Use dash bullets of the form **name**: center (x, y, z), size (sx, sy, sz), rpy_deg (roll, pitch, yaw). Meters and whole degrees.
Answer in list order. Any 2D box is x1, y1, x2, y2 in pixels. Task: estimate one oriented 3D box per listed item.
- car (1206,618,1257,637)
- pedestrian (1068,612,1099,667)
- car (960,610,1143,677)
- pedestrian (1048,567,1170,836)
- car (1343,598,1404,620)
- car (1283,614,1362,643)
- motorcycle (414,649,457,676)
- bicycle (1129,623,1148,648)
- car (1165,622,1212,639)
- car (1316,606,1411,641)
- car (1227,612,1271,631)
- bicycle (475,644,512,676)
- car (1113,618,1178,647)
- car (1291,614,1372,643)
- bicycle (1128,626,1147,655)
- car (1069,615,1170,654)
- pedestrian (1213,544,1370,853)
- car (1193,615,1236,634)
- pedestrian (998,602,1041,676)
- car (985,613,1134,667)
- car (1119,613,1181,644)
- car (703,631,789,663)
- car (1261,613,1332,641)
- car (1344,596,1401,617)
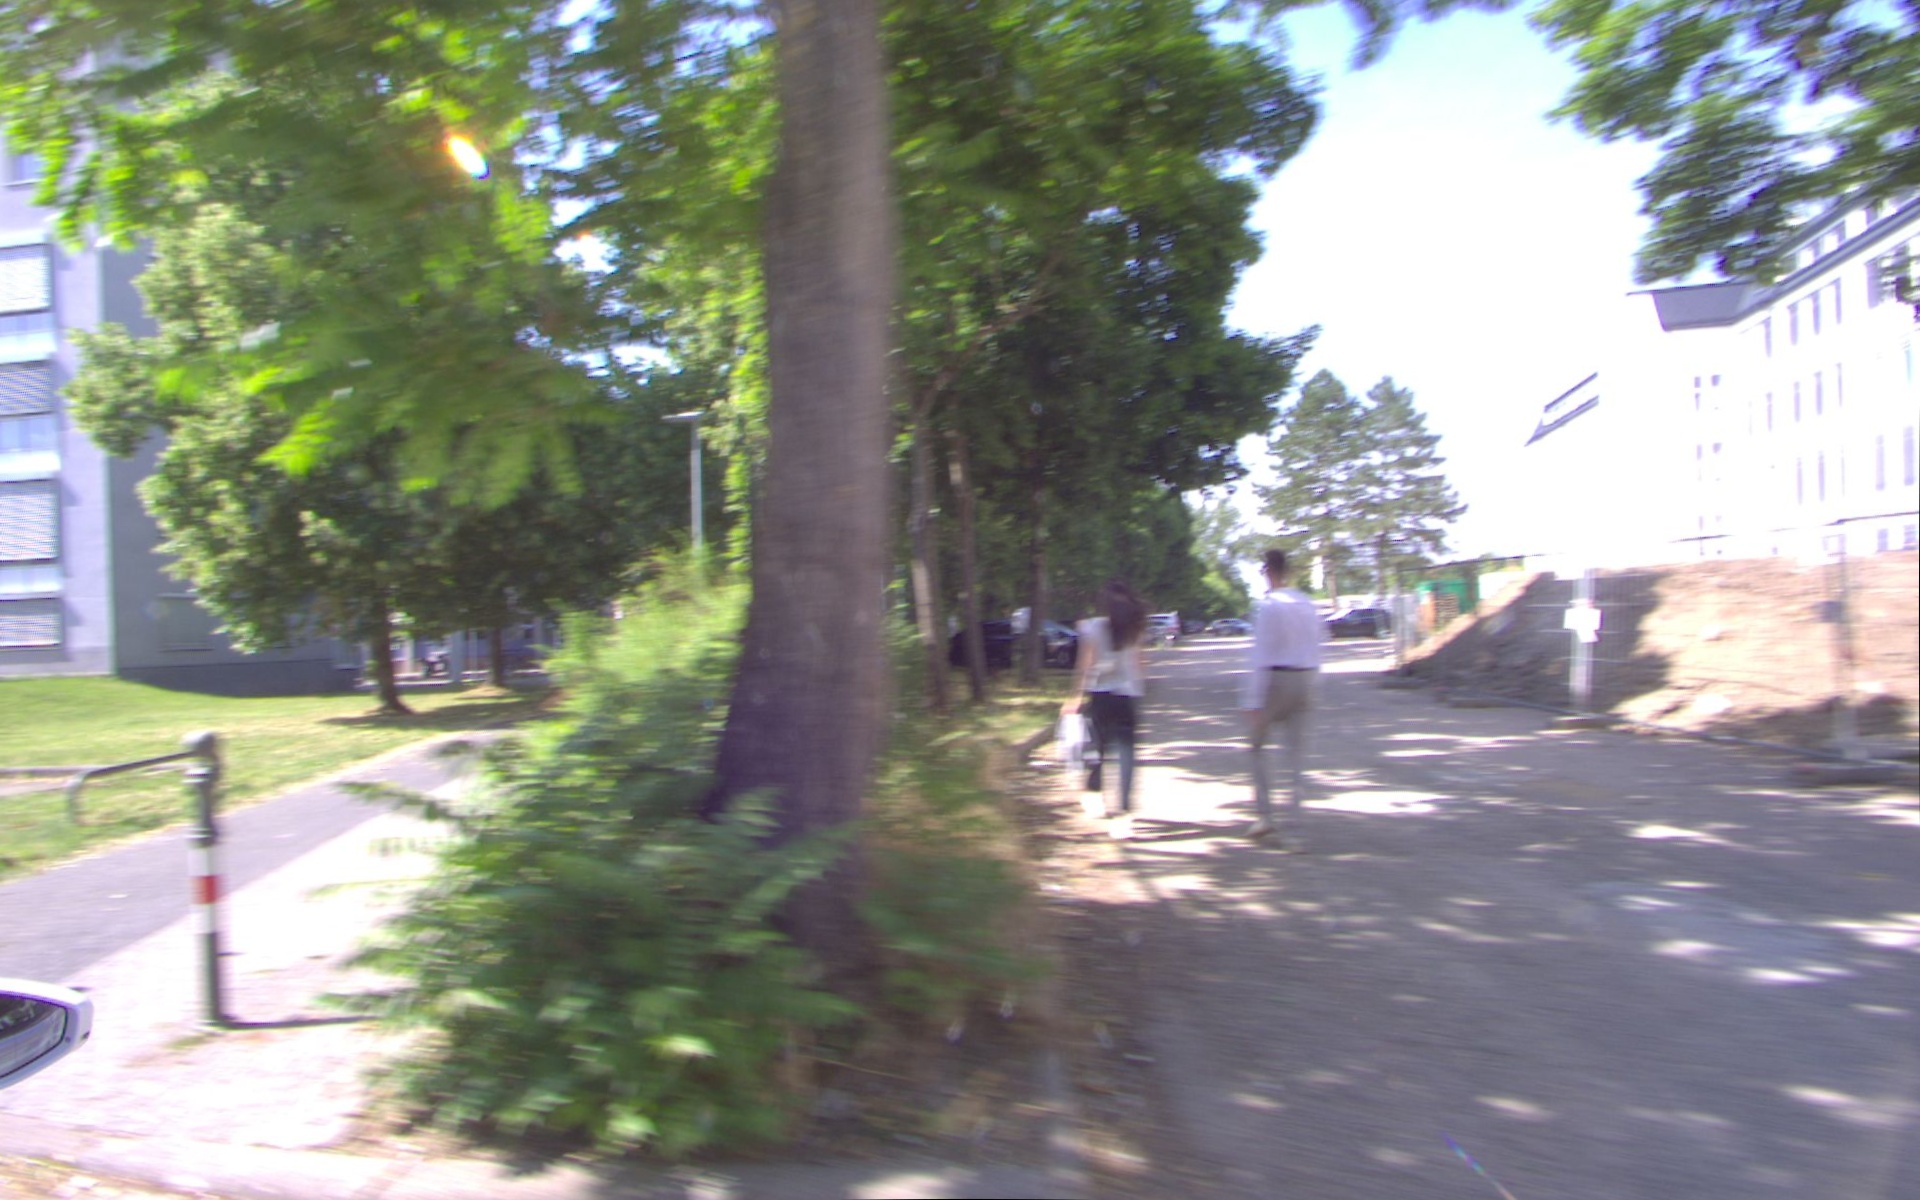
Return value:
- **car**: center (22.667, 2.277, 83.796), size (1.533, 1.525, 3.970), rpy_deg (-1, -1, -38)
- **pedestrian**: center (3.764, 1.201, 30.670), size (0.910, 1.616, 0.785), rpy_deg (-1, 1, 6)
- **car**: center (2.403, 1.121, 26.339), size (4.581, 1.605, 1.999), rpy_deg (-1, 0, 6)
- **pedestrian**: center (0.957, 0.633, 6.588), size (0.723, 1.662, 0.781), rpy_deg (-1, 1, 5)
- **car**: center (33.741, 0.761, 81.810), size (4.497, 1.623, 1.549), rpy_deg (-2, -1, 18)
- **car**: center (22.153, 1.746, 61.364), size (4.462, 1.639, 1.997), rpy_deg (-2, -1, 18)
- **motorcycle**: center (-26.346, 3.117, 50.334), size (0.618, 1.262, 2.060), rpy_deg (-1, -1, 16)
- **bicycle**: center (9.411, 1.851, 52.716), size (0.804, 1.301, 2.681), rpy_deg (-1, -1, 14)
- **car**: center (20.934, 2.765, 91.822), size (3.932, 1.470, 1.650), rpy_deg (-2, -1, 22)
- **car**: center (20.217, 1.175, 50.329), size (4.236, 1.639, 1.756), rpy_deg (-2, -1, 18)
- **car**: center (26.772, 2.044, 92.798), size (1.764, 1.705, 3.987), rpy_deg (-1, -1, -24)
- **bicycle**: center (-16.383, 2.113, 35.183), size (0.387, 1.063, 1.449), rpy_deg (-1, -1, 12)
- **car**: center (12.110, 2.106, 65.359), size (3.928, 1.795, 1.765), rpy_deg (-1, 0, 17)
- **car**: center (21.742, 1.666, 58.786), size (4.351, 1.639, 1.997), rpy_deg (-2, -1, 18)
- **bicycle**: center (8.486, 1.922, 47.851), size (0.703, 1.301, 2.788), rpy_deg (-1, -1, 14)
- **car**: center (6.972, 1.493, 43.563), size (4.220, 1.544, 1.891), rpy_deg (-1, -1, 13)
- **pedestrian**: center (1.996, 0.569, 6.140), size (0.743, 1.751, 0.853), rpy_deg (-1, 1, 8)
- **car**: center (27.986, 2.711, 110.103), size (4.415, 2.040, 1.995), rpy_deg (-2, -1, 22)
- **pedestrian**: center (1.485, 0.961, 24.987), size (0.997, 1.804, 0.820), rpy_deg (-1, 0, 6)
- **car**: center (3.190, 1.263, 32.203), size (4.581, 1.605, 1.999), rpy_deg (-1, 0, 6)
- **car**: center (12.953, 1.923, 68.236), size (3.928, 2.040, 1.765), rpy_deg (-1, 0, 17)
- **car**: center (-12.117, 2.668, 56.853), size (4.358, 1.661, 1.997), rpy_deg (-1, 0, 17)
- **car**: center (22.324, 1.771, 66.464), size (4.383, 1.783, 1.996), rpy_deg (-1, 0, 18)
- **car**: center (34.700, 0.545, 84.280), size (4.288, 1.623, 1.549), rpy_deg (-2, -1, 18)
